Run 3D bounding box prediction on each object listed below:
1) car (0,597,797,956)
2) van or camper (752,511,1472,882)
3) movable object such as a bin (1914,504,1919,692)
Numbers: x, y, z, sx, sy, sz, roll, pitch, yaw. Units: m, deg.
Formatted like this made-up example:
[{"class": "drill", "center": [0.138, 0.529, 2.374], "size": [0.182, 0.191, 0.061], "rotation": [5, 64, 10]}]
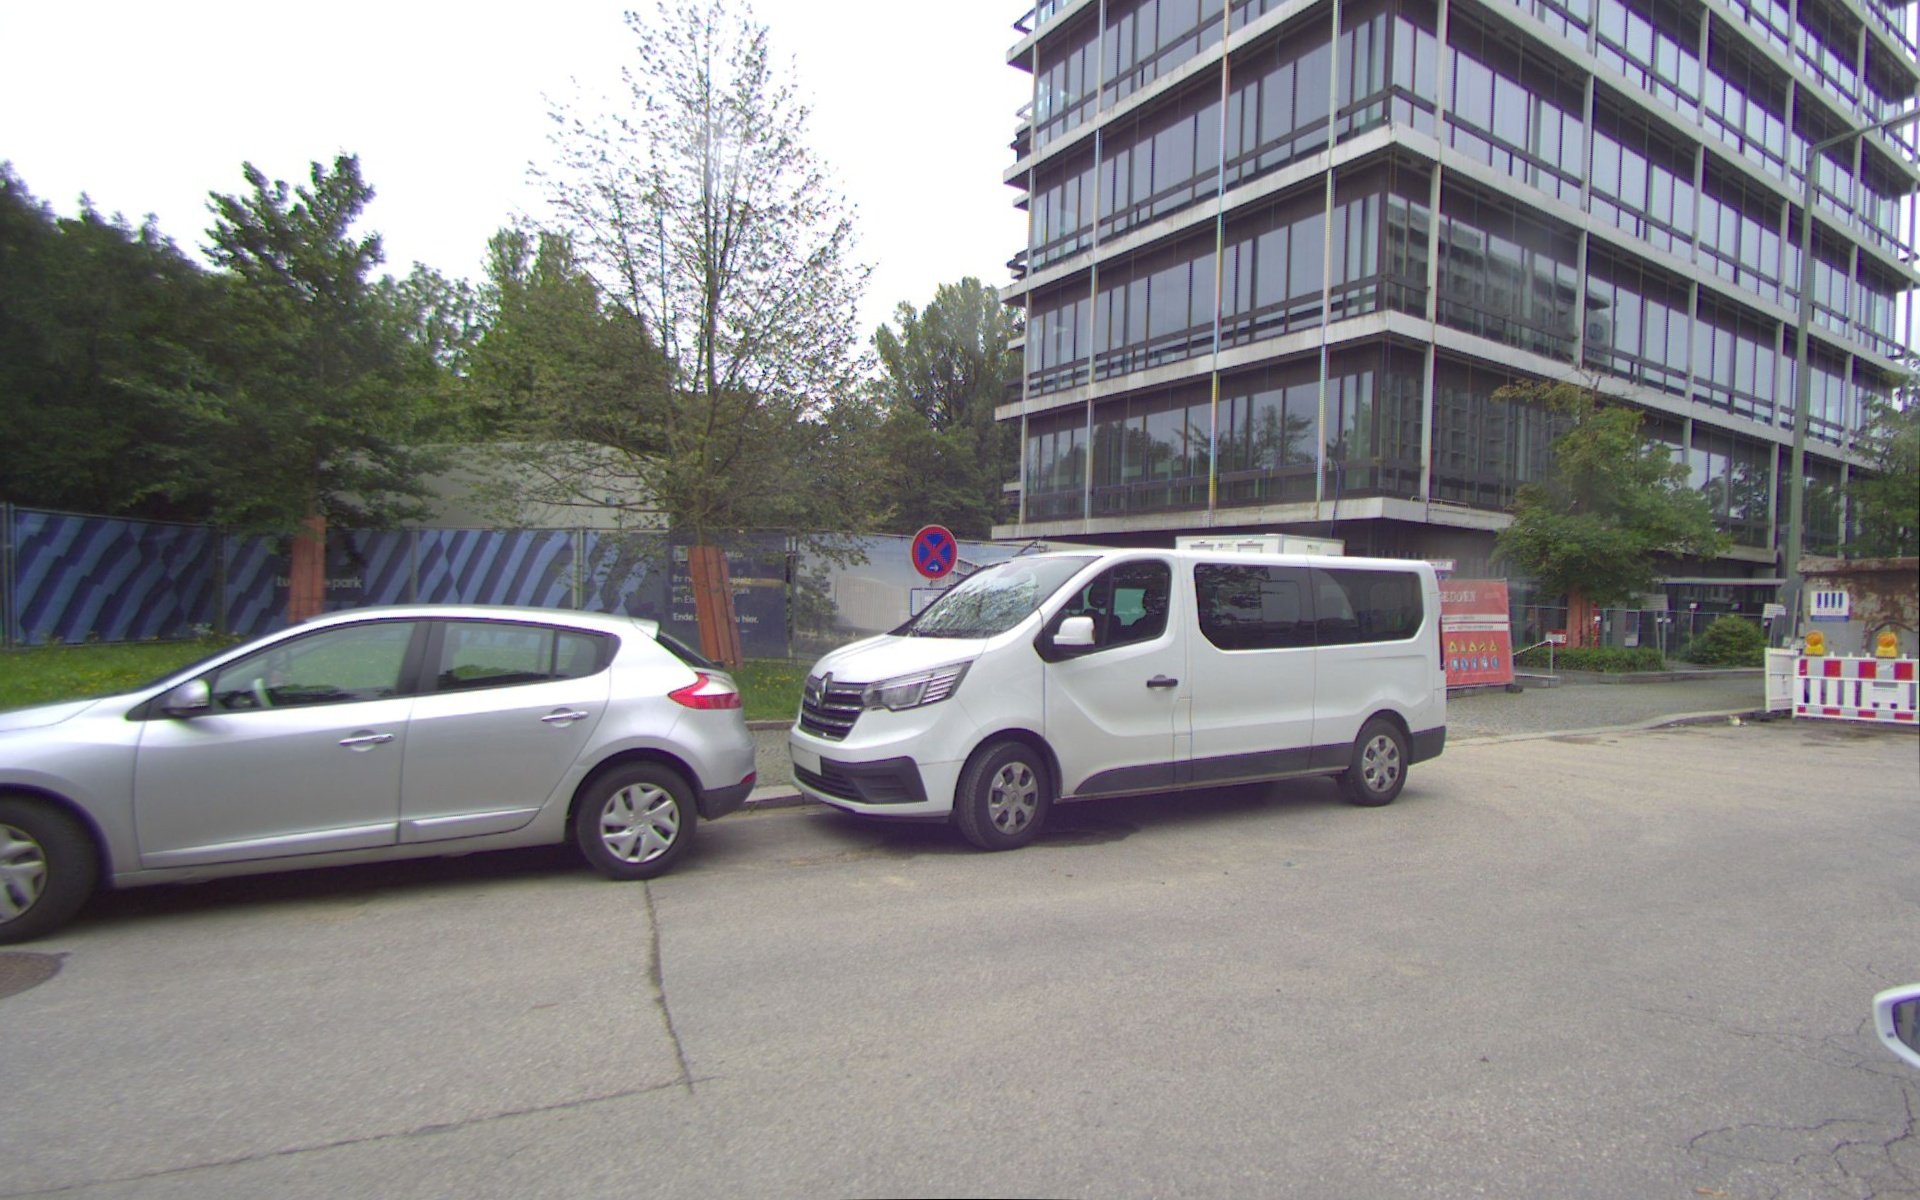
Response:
[{"class": "car", "center": [-3.170, 0.783, 5.655], "size": [4.065, 1.478, 1.987], "rotation": [1, -2, -26]}, {"class": "van or camper", "center": [1.362, 0.586, 7.816], "size": [5.519, 2.061, 1.980], "rotation": [1, -1, -29]}, {"class": "movable object such as a bin", "center": [26.243, -1.185, 23.629], "size": [11.660, 6.652, 2.886], "rotation": [2, 0, -34]}]
